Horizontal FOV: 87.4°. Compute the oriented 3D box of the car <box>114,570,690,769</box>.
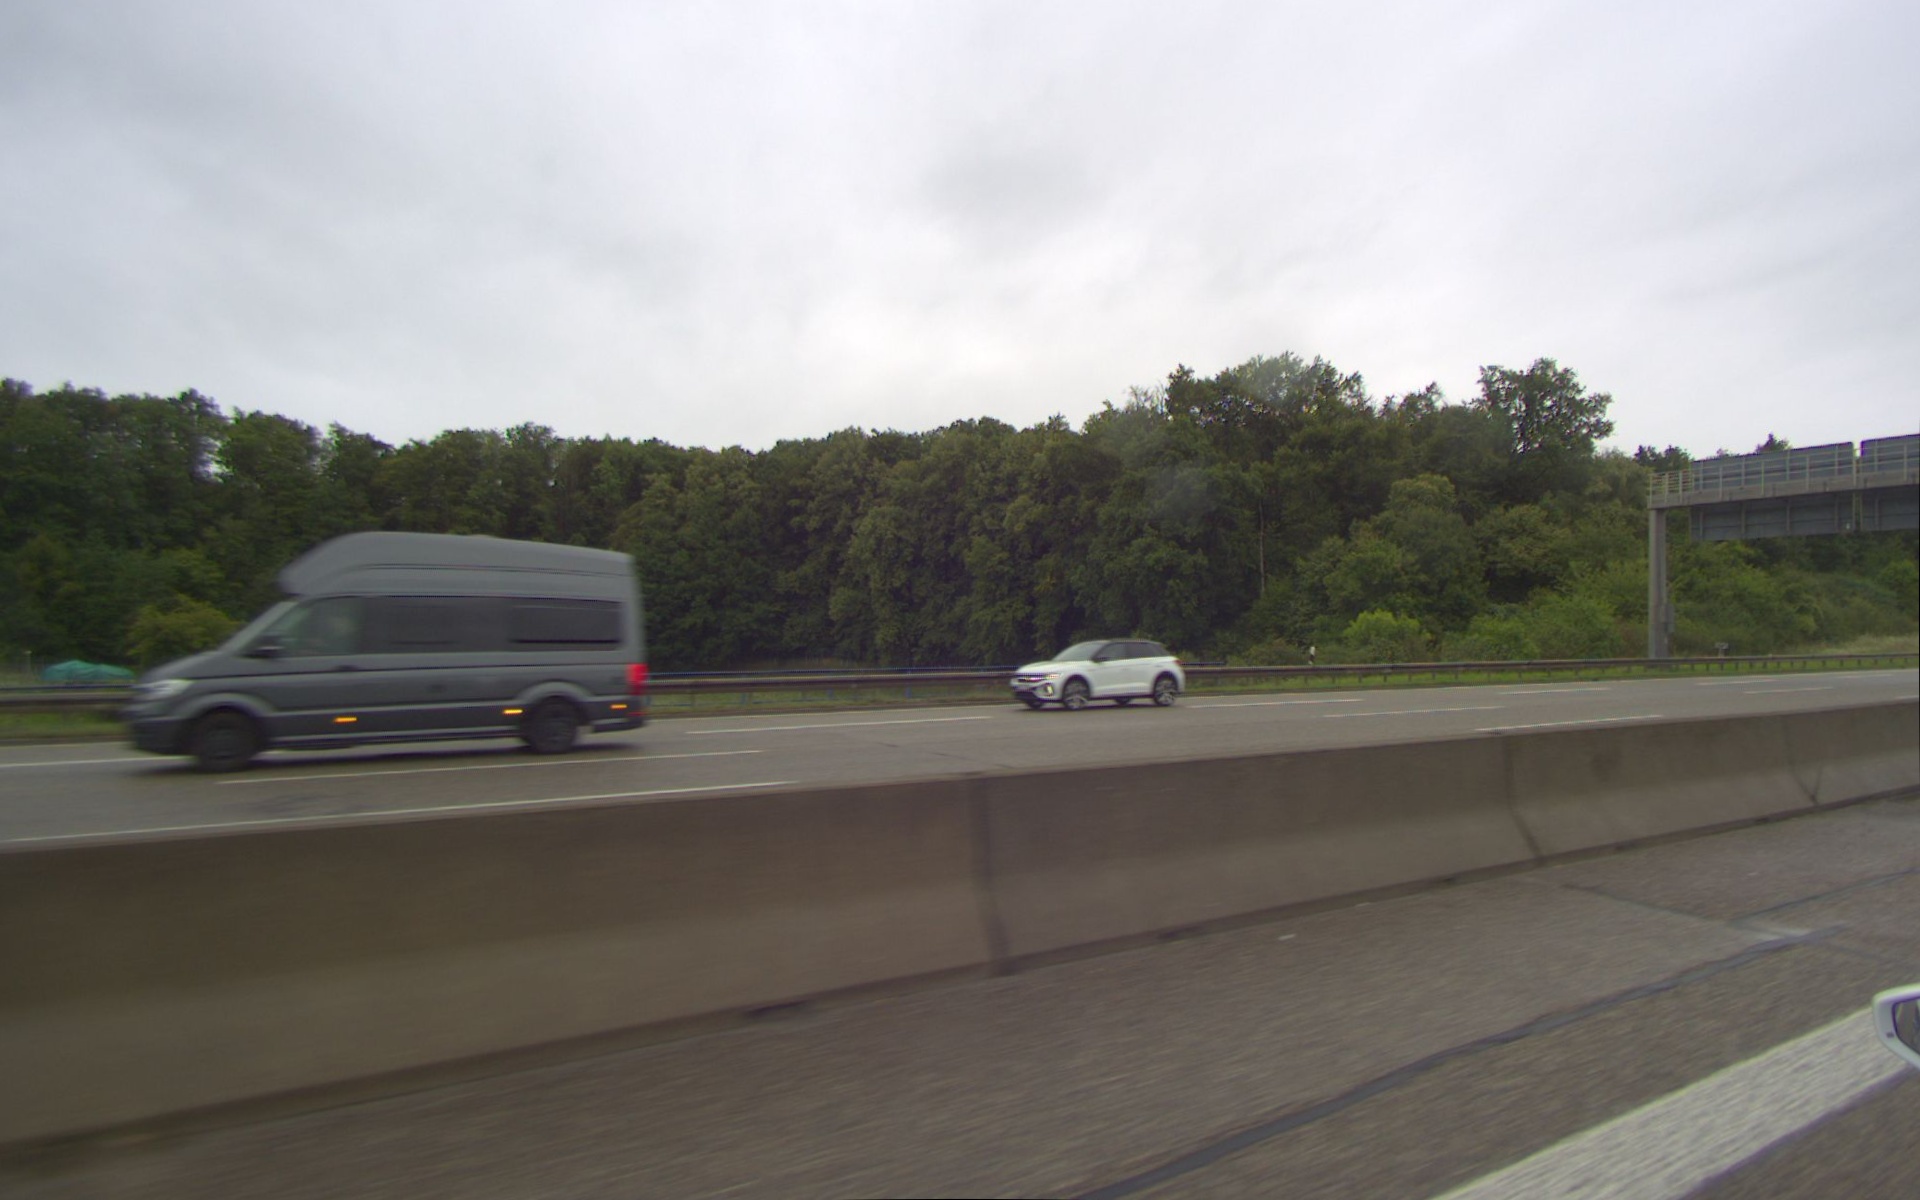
[{"bbox_3d":[-7.062,0.845,13.548,6.341,2.196,1.984,1,-2,-30],"label":"car"}]

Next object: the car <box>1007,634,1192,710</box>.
[{"bbox_3d":[3.249,1.587,23.176,4.097,1.606,1.707,1,-2,-30],"label":"car"}]
